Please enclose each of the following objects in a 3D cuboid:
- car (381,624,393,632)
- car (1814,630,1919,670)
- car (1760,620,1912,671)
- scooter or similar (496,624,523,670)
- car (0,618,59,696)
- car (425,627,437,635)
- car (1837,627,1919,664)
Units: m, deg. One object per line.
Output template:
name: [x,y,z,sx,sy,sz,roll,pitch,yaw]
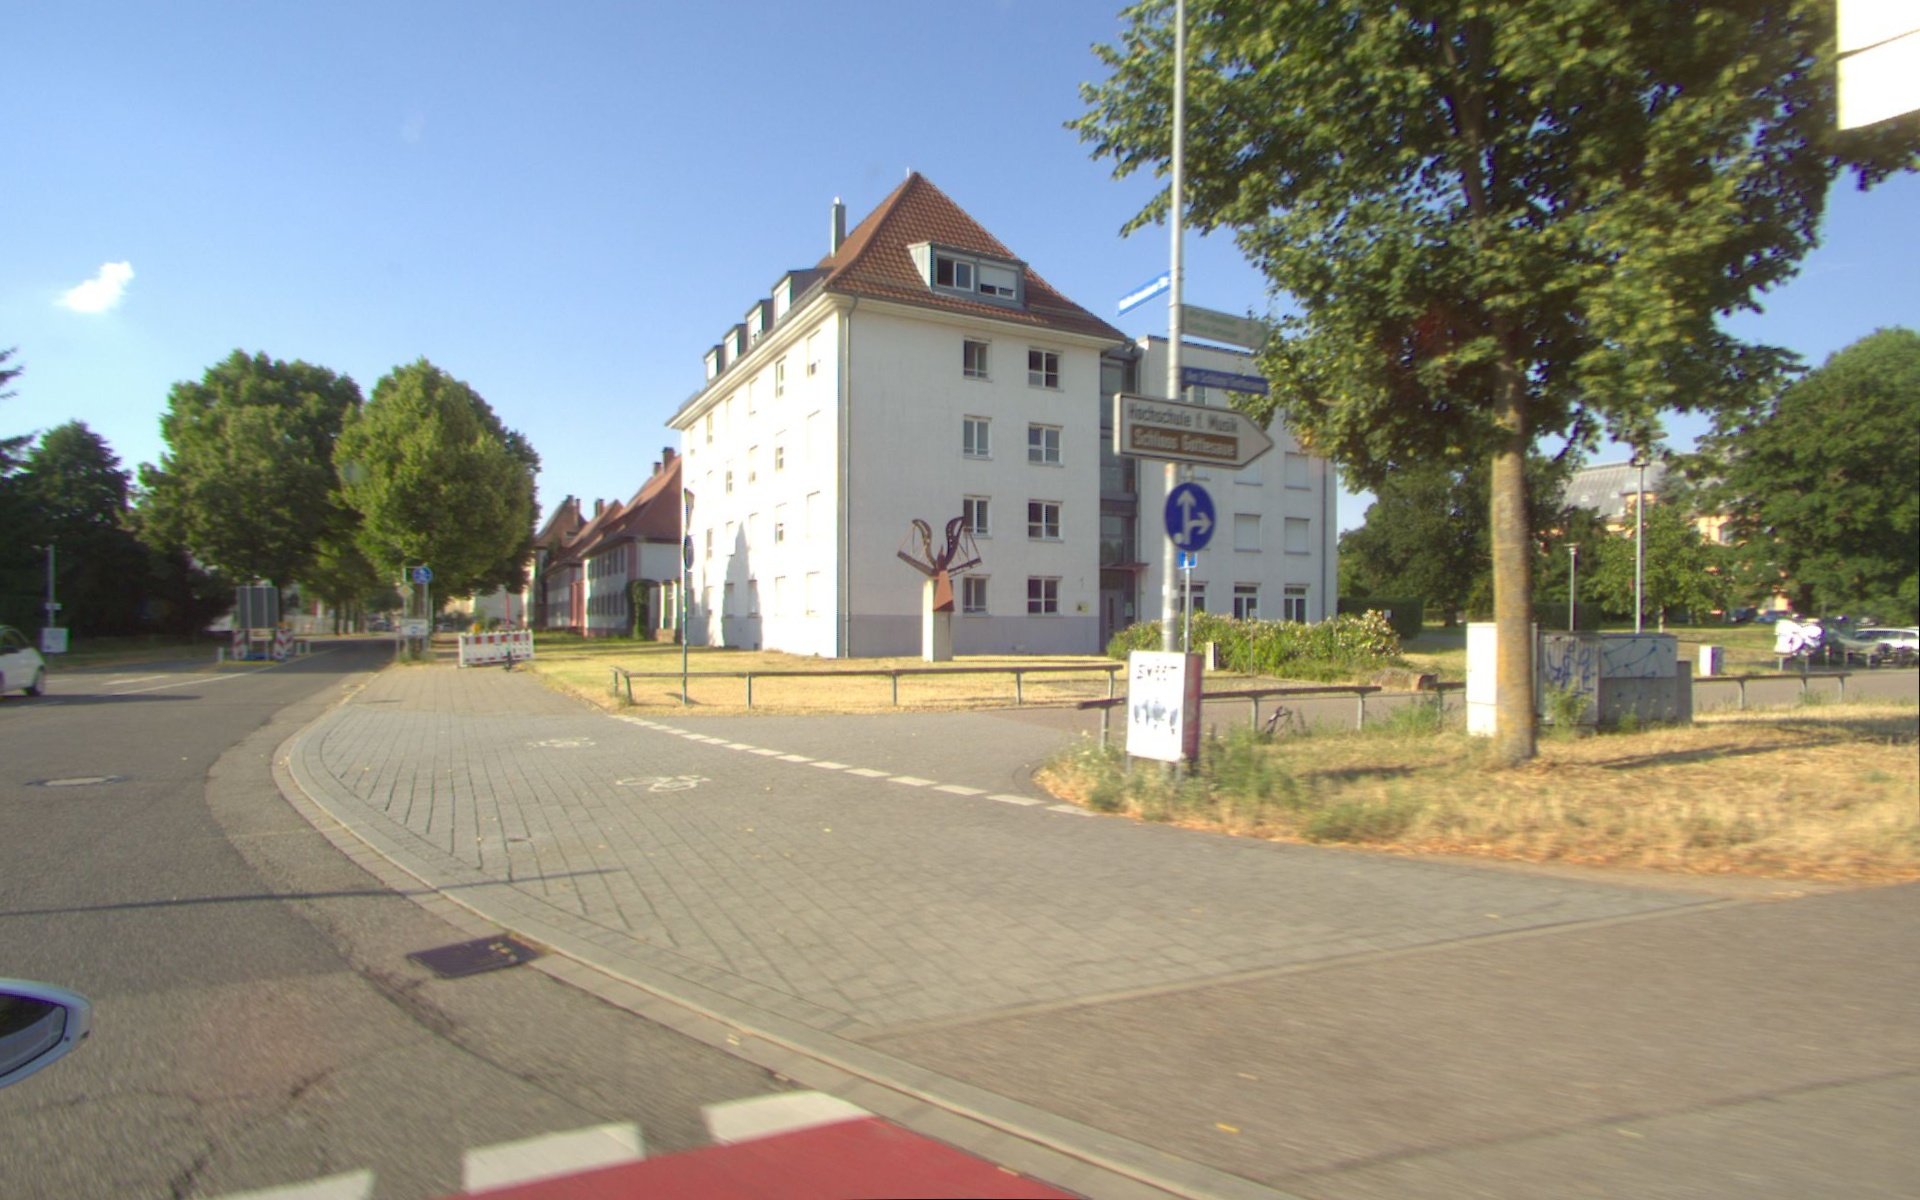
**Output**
car: [-117.877,5.759,206.101,1.973,1.709,3.977,1,-2,-33]
car: [37.621,2.006,40.719,1.971,1.549,3.981,1,-1,-29]
car: [33.224,1.683,38.080,1.865,1.817,3.981,1,-1,-29]
scooter or similar: [-13.629,1.414,30.288,0.552,1.310,1.456,-6,2,-27]
car: [-19.102,1.060,19.209,1.738,1.439,3.610,3,-2,-26]
car: [-106.220,6.203,200.897,1.697,1.505,3.976,0,-2,-34]
car: [40.339,1.934,42.728,1.971,1.549,3.981,1,-1,-29]
